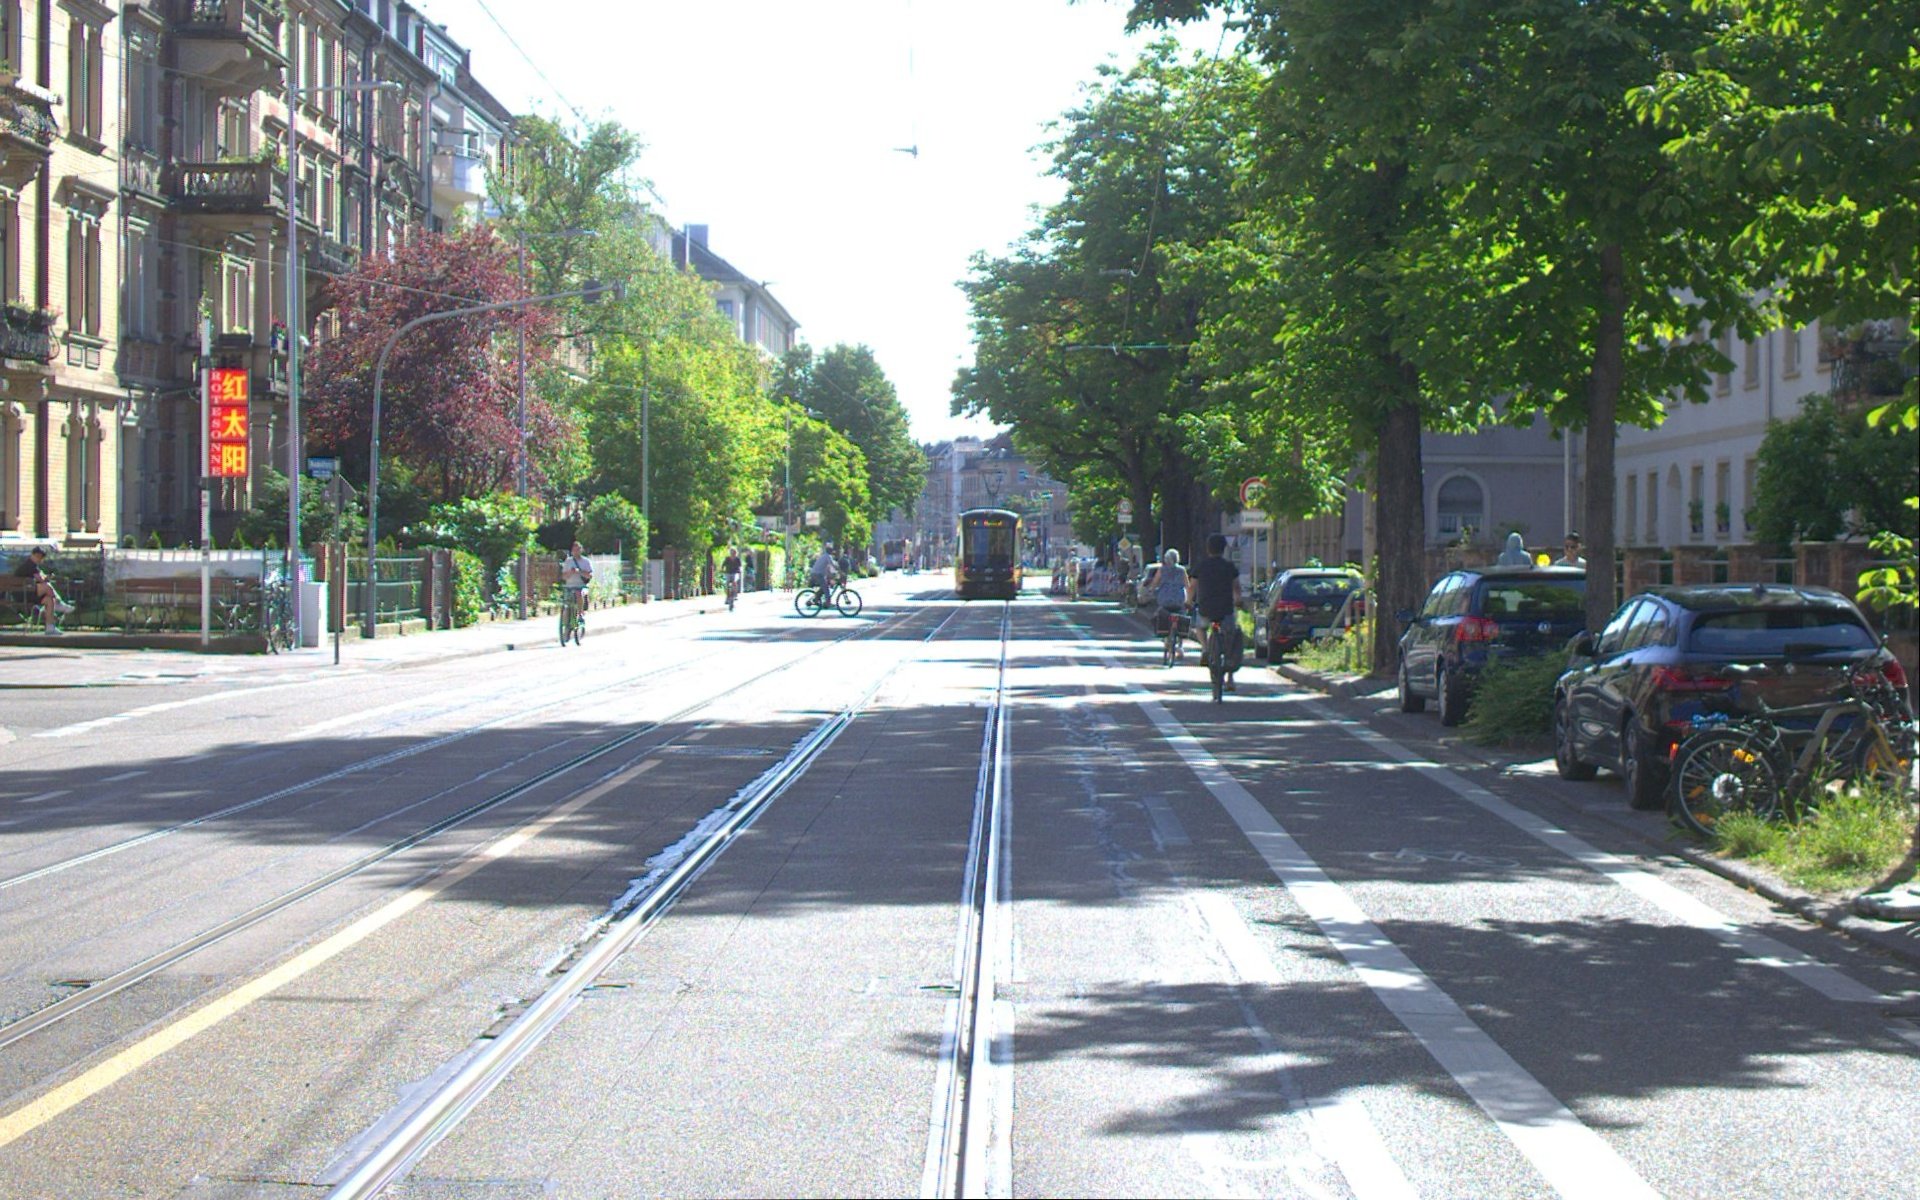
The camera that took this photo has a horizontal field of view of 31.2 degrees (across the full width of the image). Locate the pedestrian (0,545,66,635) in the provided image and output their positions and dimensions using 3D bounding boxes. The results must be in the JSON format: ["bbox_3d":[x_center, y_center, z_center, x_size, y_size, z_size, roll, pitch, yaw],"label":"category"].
[{"bbox_3d":[-14.112,-0.157,52.155,0.901,1.348,0.577,-1,0,2],"label":"pedestrian"}]

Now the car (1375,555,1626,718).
[{"bbox_3d":[5.166,0.302,33.327,1.720,1.468,4.246,0,1,-1],"label":"car"}]

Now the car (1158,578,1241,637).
[{"bbox_3d":[6.178,0.180,89.166,1.628,1.431,4.665,0,1,-2],"label":"car"}]

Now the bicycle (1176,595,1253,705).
[{"bbox_3d":[2.733,0.522,37.052,0.692,1.108,1.718,2,1,1],"label":"bicycle"}]

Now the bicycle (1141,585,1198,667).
[{"bbox_3d":[3.011,0.366,49.631,0.692,1.108,1.917,2,1,1],"label":"bicycle"}]

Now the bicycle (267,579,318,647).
[{"bbox_3d":[-10.157,0.191,52.357,0.335,0.997,1.870,2,1,1],"label":"bicycle"}]

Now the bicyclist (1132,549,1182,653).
[{"bbox_3d":[2.830,0.013,49.526,0.635,1.463,0.616,2,1,1],"label":"bicyclist"}]

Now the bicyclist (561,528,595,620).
[{"bbox_3d":[-6.764,-0.456,60.861,0.464,1.613,0.744,-1,1,1],"label":"bicyclist"}]

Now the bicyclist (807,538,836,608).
[{"bbox_3d":[-3.620,-0.713,90.092,0.645,1.789,0.956,2,1,1],"label":"bicyclist"}]

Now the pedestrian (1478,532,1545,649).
[{"bbox_3d":[8.283,-0.149,51.640,0.764,1.718,0.579,3,1,30],"label":"pedestrian"}]

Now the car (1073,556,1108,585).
[{"bbox_3d":[7.244,-1.649,190.844,1.754,1.546,3.677,2,1,1],"label":"car"}]

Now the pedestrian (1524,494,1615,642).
[{"bbox_3d":[7.423,-0.385,41.855,0.599,1.765,0.913,-2,1,-29],"label":"pedestrian"}]

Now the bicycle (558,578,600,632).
[{"bbox_3d":[-6.754,0.083,60.955,0.460,0.923,2.203,-1,1,1],"label":"bicycle"}]

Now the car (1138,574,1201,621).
[{"bbox_3d":[6.563,-0.094,107.982,1.748,1.415,4.000,0,1,0],"label":"car"}]

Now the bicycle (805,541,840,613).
[{"bbox_3d":[-3.602,-0.607,90.028,0.663,1.853,2.260,2,1,2],"label":"bicycle"}]

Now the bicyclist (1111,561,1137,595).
[{"bbox_3d":[6.234,-0.833,130.886,0.773,1.287,0.732,2,1,17],"label":"bicyclist"}]

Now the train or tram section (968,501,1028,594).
[{"bbox_3d":[1.476,-2.042,134.044,2.153,3.420,6.611,2,1,1],"label":"train or tram section"}]

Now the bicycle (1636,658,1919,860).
[{"bbox_3d":[4.845,0.915,19.837,1.761,1.074,0.433,2,1,2],"label":"bicycle"}]

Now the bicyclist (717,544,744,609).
[{"bbox_3d":[-6.477,-0.665,96.953,0.660,1.795,0.616,-1,0,1],"label":"bicyclist"}]

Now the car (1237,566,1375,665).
[{"bbox_3d":[5.370,0.216,53.824,1.787,1.459,4.044,0,1,1],"label":"car"}]

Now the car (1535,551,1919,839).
[{"bbox_3d":[5.116,0.557,23.377,1.665,1.755,4.231,1,1,0],"label":"car"}]

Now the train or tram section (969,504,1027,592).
[{"bbox_3d":[1.552,-2.128,140.679,2.153,3.420,6.611,2,1,1],"label":"train or tram section"}]

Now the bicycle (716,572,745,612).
[{"bbox_3d":[-6.475,-0.233,97.019,0.692,1.108,1.718,0,1,1],"label":"bicycle"}]

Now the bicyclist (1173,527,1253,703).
[{"bbox_3d":[2.725,0.154,37.065,0.727,1.842,0.837,2,1,0],"label":"bicyclist"}]

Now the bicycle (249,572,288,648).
[{"bbox_3d":[-10.359,0.147,51.493,0.371,1.122,0.809,2,1,1],"label":"bicycle"}]

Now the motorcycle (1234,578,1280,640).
[{"bbox_3d":[5.939,0.175,68.877,0.495,1.187,1.862,-3,1,-7],"label":"motorcycle"}]

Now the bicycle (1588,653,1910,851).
[{"bbox_3d":[4.653,0.893,20.328,1.761,1.074,0.433,2,1,2],"label":"bicycle"}]
